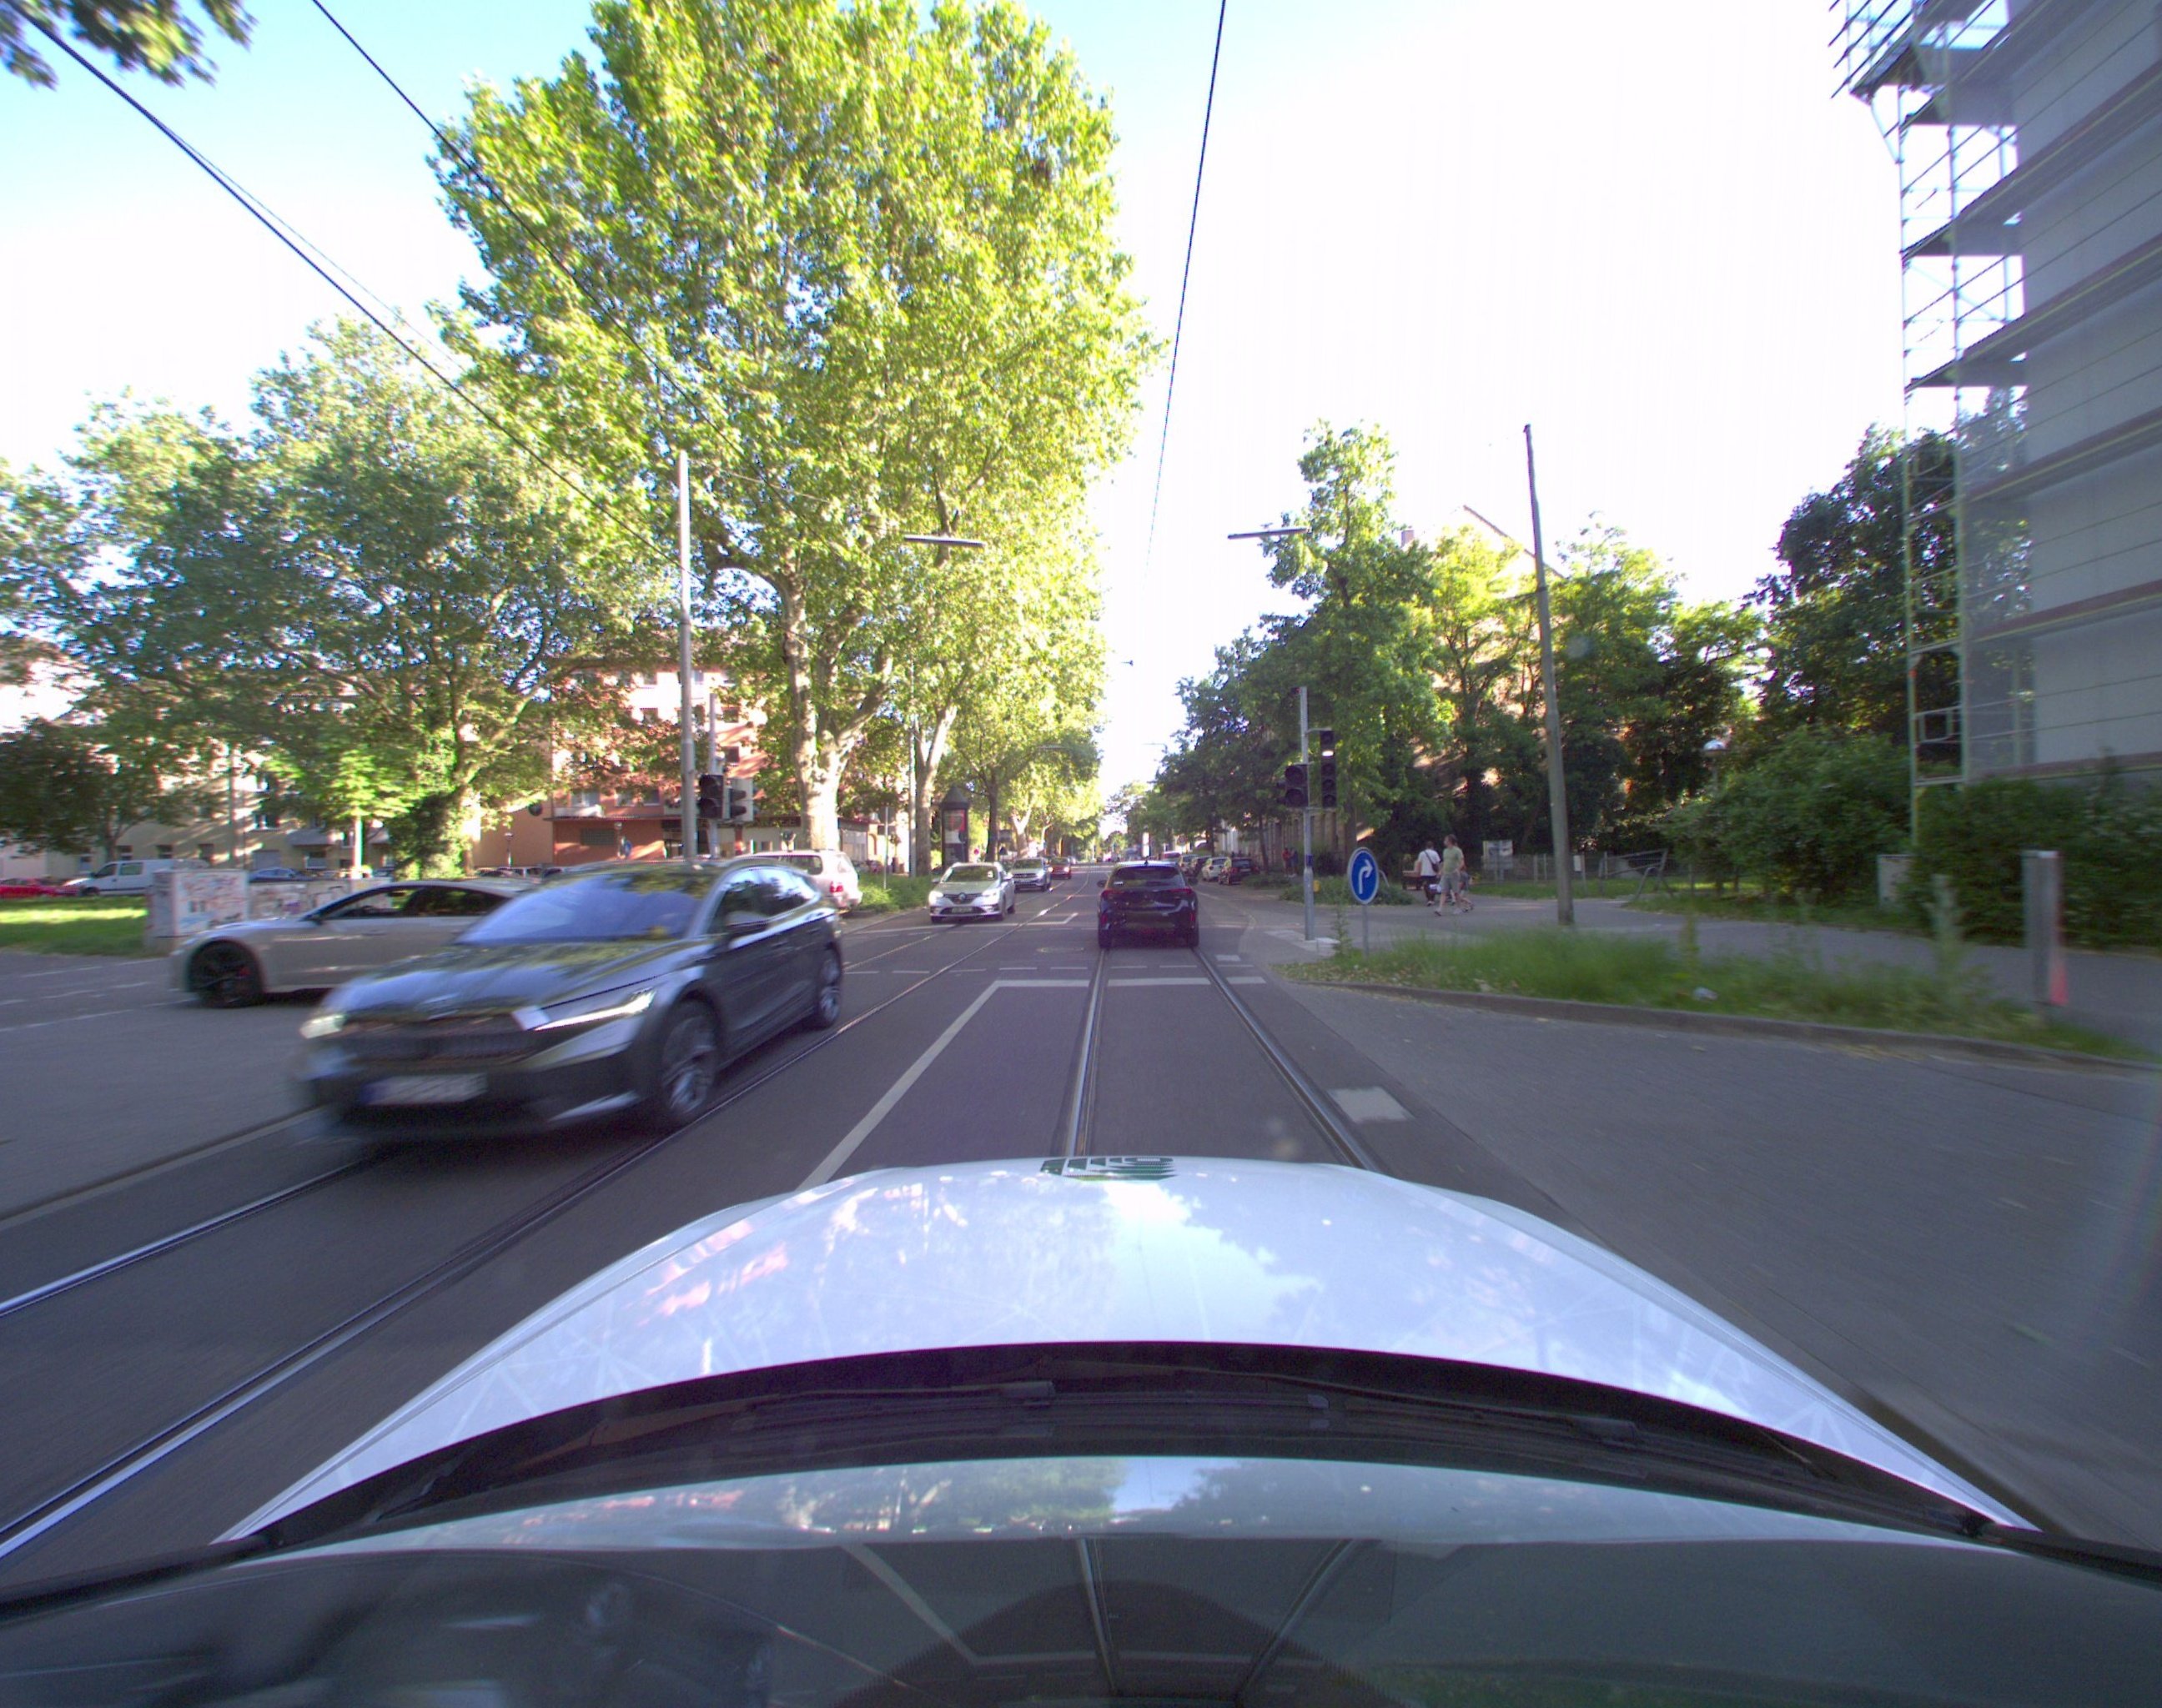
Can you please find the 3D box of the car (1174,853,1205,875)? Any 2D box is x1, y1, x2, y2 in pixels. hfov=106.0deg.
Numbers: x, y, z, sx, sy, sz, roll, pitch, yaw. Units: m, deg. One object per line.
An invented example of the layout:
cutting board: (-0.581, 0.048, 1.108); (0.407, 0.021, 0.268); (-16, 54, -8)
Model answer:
car: (8.522, 0.774, 64.161); (1.877, 1.568, 4.242); (-4, 0, 1)

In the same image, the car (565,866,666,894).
car: (-25.649, 1.408, 45.019); (4.464, 1.450, 1.819); (0, 0, -8)

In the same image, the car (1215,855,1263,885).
car: (8.339, 0.835, 43.326); (1.668, 1.412, 3.841); (-4, 0, -1)

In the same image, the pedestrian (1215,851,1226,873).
pedestrian: (10.718, 0.635, 62.522); (0.723, 1.693, 0.957); (0, -1, 2)

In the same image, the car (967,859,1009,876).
car: (-8.099, 1.156, 70.943); (3.406, 1.465, 1.698); (0, -1, 2)

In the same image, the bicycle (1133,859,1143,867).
bicycle: (7.070, 1.162, 101.208); (0.965, 0.999, 2.582); (0, 0, -1)

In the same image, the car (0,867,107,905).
car: (-56.362, 1.712, 44.027); (4.718, 2.014, 1.998); (0, -1, -3)

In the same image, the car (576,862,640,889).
car: (-30.855, 1.367, 53.240); (1.942, 1.618, 4.473); (0, 0, -6)

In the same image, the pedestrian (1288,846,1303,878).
pedestrian: (12.092, 0.431, 45.885); (0.597, 1.793, 0.728); (0, -1, -2)

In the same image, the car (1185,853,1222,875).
car: (8.847, 0.724, 59.317); (1.878, 1.467, 4.592); (-4, 0, -1)

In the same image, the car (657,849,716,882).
car: (-25.423, 0.705, 52.638); (1.992, 2.003, 4.906); (0, 0, -8)

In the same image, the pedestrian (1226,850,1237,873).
pedestrian: (11.544, 0.580, 62.529); (0.723, 1.709, 0.857); (0, -1, 4)

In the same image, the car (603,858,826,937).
car: (-8.108, 0.938, 18.325); (4.127, 1.646, 1.901); (0, -1, -1)

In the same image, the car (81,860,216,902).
car: (-50.483, 1.431, 44.172); (4.718, 2.197, 2.041); (0, -1, -3)

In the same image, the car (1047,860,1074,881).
car: (-1.411, 1.141, 56.656); (1.654, 1.444, 3.474); (0, 0, 1)

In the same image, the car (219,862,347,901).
car: (-43.034, 1.450, 44.001); (4.721, 2.014, 1.997); (0, -1, -5)

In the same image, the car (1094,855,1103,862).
car: (4.985, 1.297, 231.887); (2.249, 1.840, 5.524); (-2, 0, -3)

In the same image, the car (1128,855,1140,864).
car: (9.003, 0.984, 139.666); (1.797, 1.434, 4.000); (-2, -1, 1)

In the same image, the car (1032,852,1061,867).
car: (-6.157, 0.962, 146.309); (5.019, 2.374, 2.081); (-5, -1, 0)

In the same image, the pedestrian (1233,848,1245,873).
pedestrian: (11.249, 0.479, 57.918); (0.723, 1.793, 0.601); (0, -1, 3)

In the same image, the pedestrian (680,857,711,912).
pedestrian: (-12.849, 0.994, 27.140); (0.640, 1.809, 0.753); (0, -1, 6)

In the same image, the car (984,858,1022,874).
car: (-7.429, 1.135, 78.148); (3.406, 1.465, 1.760); (0, -1, 2)

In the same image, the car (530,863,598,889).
car: (-33.497, 1.384, 52.888); (1.942, 1.618, 4.473); (0, 0, -6)

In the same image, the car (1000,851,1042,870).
car: (-7.365, 0.817, 100.436); (5.021, 2.259, 2.083); (0, 0, -3)

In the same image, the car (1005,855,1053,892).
car: (-2.347, 0.871, 37.751); (1.809, 1.568, 4.117); (-3, 0, 1)

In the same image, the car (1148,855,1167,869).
car: (8.857, 0.897, 94.727); (1.707, 1.514, 4.035); (-3, 0, -1)

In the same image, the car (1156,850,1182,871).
car: (8.566, 0.624, 79.625); (1.877, 1.851, 4.967); (-4, 0, 1)

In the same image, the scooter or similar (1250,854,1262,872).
scooter or similar: (12.084, 0.599, 56.193); (0.573, 1.246, 1.335); (0, -1, 2)

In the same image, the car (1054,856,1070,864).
car: (-5.143, 1.573, 221.689); (3.966, 2.014, 2.004); (0, -1, 7)

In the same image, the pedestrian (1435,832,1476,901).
pedestrian: (10.128, 0.341, 22.045); (0.721, 1.793, 0.971); (-3, 0, 11)

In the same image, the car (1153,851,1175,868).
car: (9.027, 0.641, 88.822); (1.879, 1.766, 4.678); (-2, 0, 1)

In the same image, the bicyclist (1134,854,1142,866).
bicyclist: (7.072, 0.736, 101.215); (0.955, 1.499, 1.093); (0, -1, -1)

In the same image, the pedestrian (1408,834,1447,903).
pedestrian: (9.326, 0.389, 21.919); (0.721, 1.793, 0.856); (-3, 0, 11)

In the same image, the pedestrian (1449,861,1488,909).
pedestrian: (9.171, 0.732, 19.293); (0.670, 1.118, 0.662); (-1, -1, 12)

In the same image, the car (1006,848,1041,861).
car: (-7.268, 0.073, 103.750); (4.288, 1.607, 1.924); (-1, 0, -2)

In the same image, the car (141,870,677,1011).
car: (-7.800, 0.950, 9.902); (4.753, 1.460, 1.953); (0, 0, -3)

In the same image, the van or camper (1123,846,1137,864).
van or camper: (9.206, 0.127, 153.443); (2.246, 3.216, 5.531); (-2, 0, 1)

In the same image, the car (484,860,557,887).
car: (-36.038, 1.226, 52.491); (1.942, 1.618, 4.473); (0, 0, -6)

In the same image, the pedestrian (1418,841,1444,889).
pedestrian: (12.557, 0.391, 29.222); (0.618, 1.725, 0.551); (0, -1, -15)

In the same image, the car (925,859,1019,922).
car: (-2.723, 0.874, 21.294); (1.769, 1.461, 4.205); (0, 0, 1)

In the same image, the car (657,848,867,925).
car: (-8.011, 0.792, 20.782); (4.557, 1.834, 1.938); (0, -1, -1)

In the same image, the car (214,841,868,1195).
car: (-3.191, 0.808, 6.112); (1.901, 1.638, 4.321); (-2, 0, 1)

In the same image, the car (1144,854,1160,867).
car: (9.007, 0.815, 103.466); (1.697, 1.423, 3.978); (-5, 0, 1)

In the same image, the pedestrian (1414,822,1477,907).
pedestrian: (8.308, 0.232, 18.607); (0.869, 1.885, 0.992); (0, -1, -17)

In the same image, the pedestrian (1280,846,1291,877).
pedestrian: (11.738, 0.434, 46.698); (0.594, 1.793, 0.731); (-1, -1, 14)

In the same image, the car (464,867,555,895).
car: (-31.308, 1.485, 44.679); (3.701, 1.450, 1.686); (0, -1, -5)

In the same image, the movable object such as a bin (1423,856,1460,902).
movable object such as a bin: (10.137, 0.687, 22.958); (0.635, 1.202, 1.309); (-3, 0, 11)

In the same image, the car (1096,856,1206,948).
car: (1.157, 0.786, 15.057); (1.757, 1.460, 3.951); (0, 0, 1)

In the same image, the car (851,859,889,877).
car: (-16.739, 1.081, 64.713); (1.941, 1.407, 3.893); (0, 0, 1)

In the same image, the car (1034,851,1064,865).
car: (-6.214, 0.799, 159.027); (5.613, 2.593, 2.198); (0, -1, 4)

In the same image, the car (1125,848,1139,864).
car: (9.143, 0.363, 146.875); (2.078, 2.772, 4.698); (-2, 0, 1)

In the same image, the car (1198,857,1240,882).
car: (8.428, 0.907, 49.966); (1.877, 1.368, 4.107); (-4, 0, 1)

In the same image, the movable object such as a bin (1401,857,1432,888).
movable object such as a bin: (12.349, 0.665, 30.001); (0.665, 1.126, 0.954); (0, -1, -7)

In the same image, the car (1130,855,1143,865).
car: (8.801, 0.904, 129.400); (1.877, 1.434, 4.530); (-4, 0, 1)
